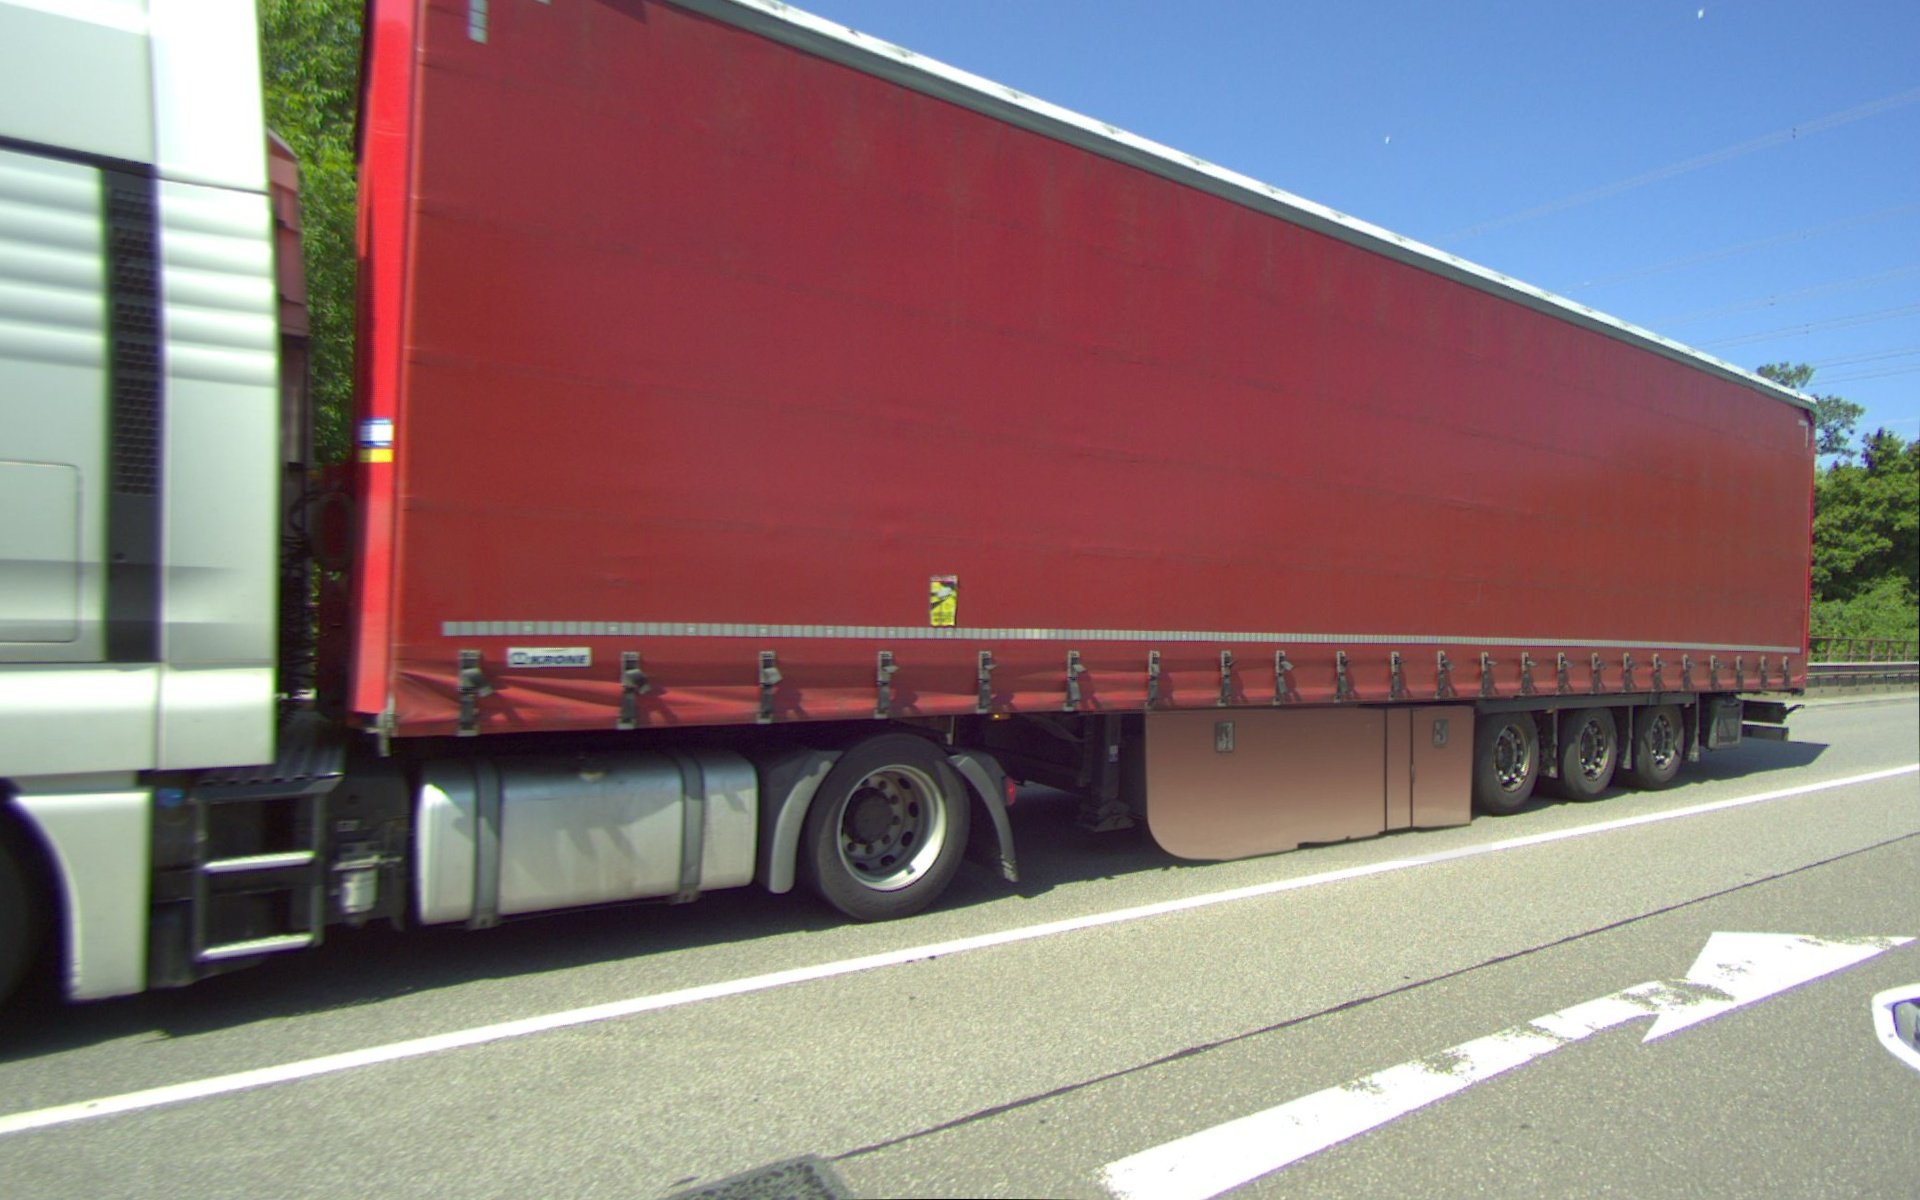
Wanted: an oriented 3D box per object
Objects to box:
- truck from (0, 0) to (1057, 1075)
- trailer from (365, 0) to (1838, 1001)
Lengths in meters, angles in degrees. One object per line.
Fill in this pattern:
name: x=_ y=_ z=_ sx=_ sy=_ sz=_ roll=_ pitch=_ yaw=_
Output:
truck: x=-2.673 y=-0.630 z=4.675 sx=5.793 sy=4.087 sz=2.752 roll=1 pitch=-1 yaw=-33
trailer: x=3.196 y=-0.462 z=8.527 sx=14.048 sy=4.116 sz=2.752 roll=2 pitch=-1 yaw=-33
